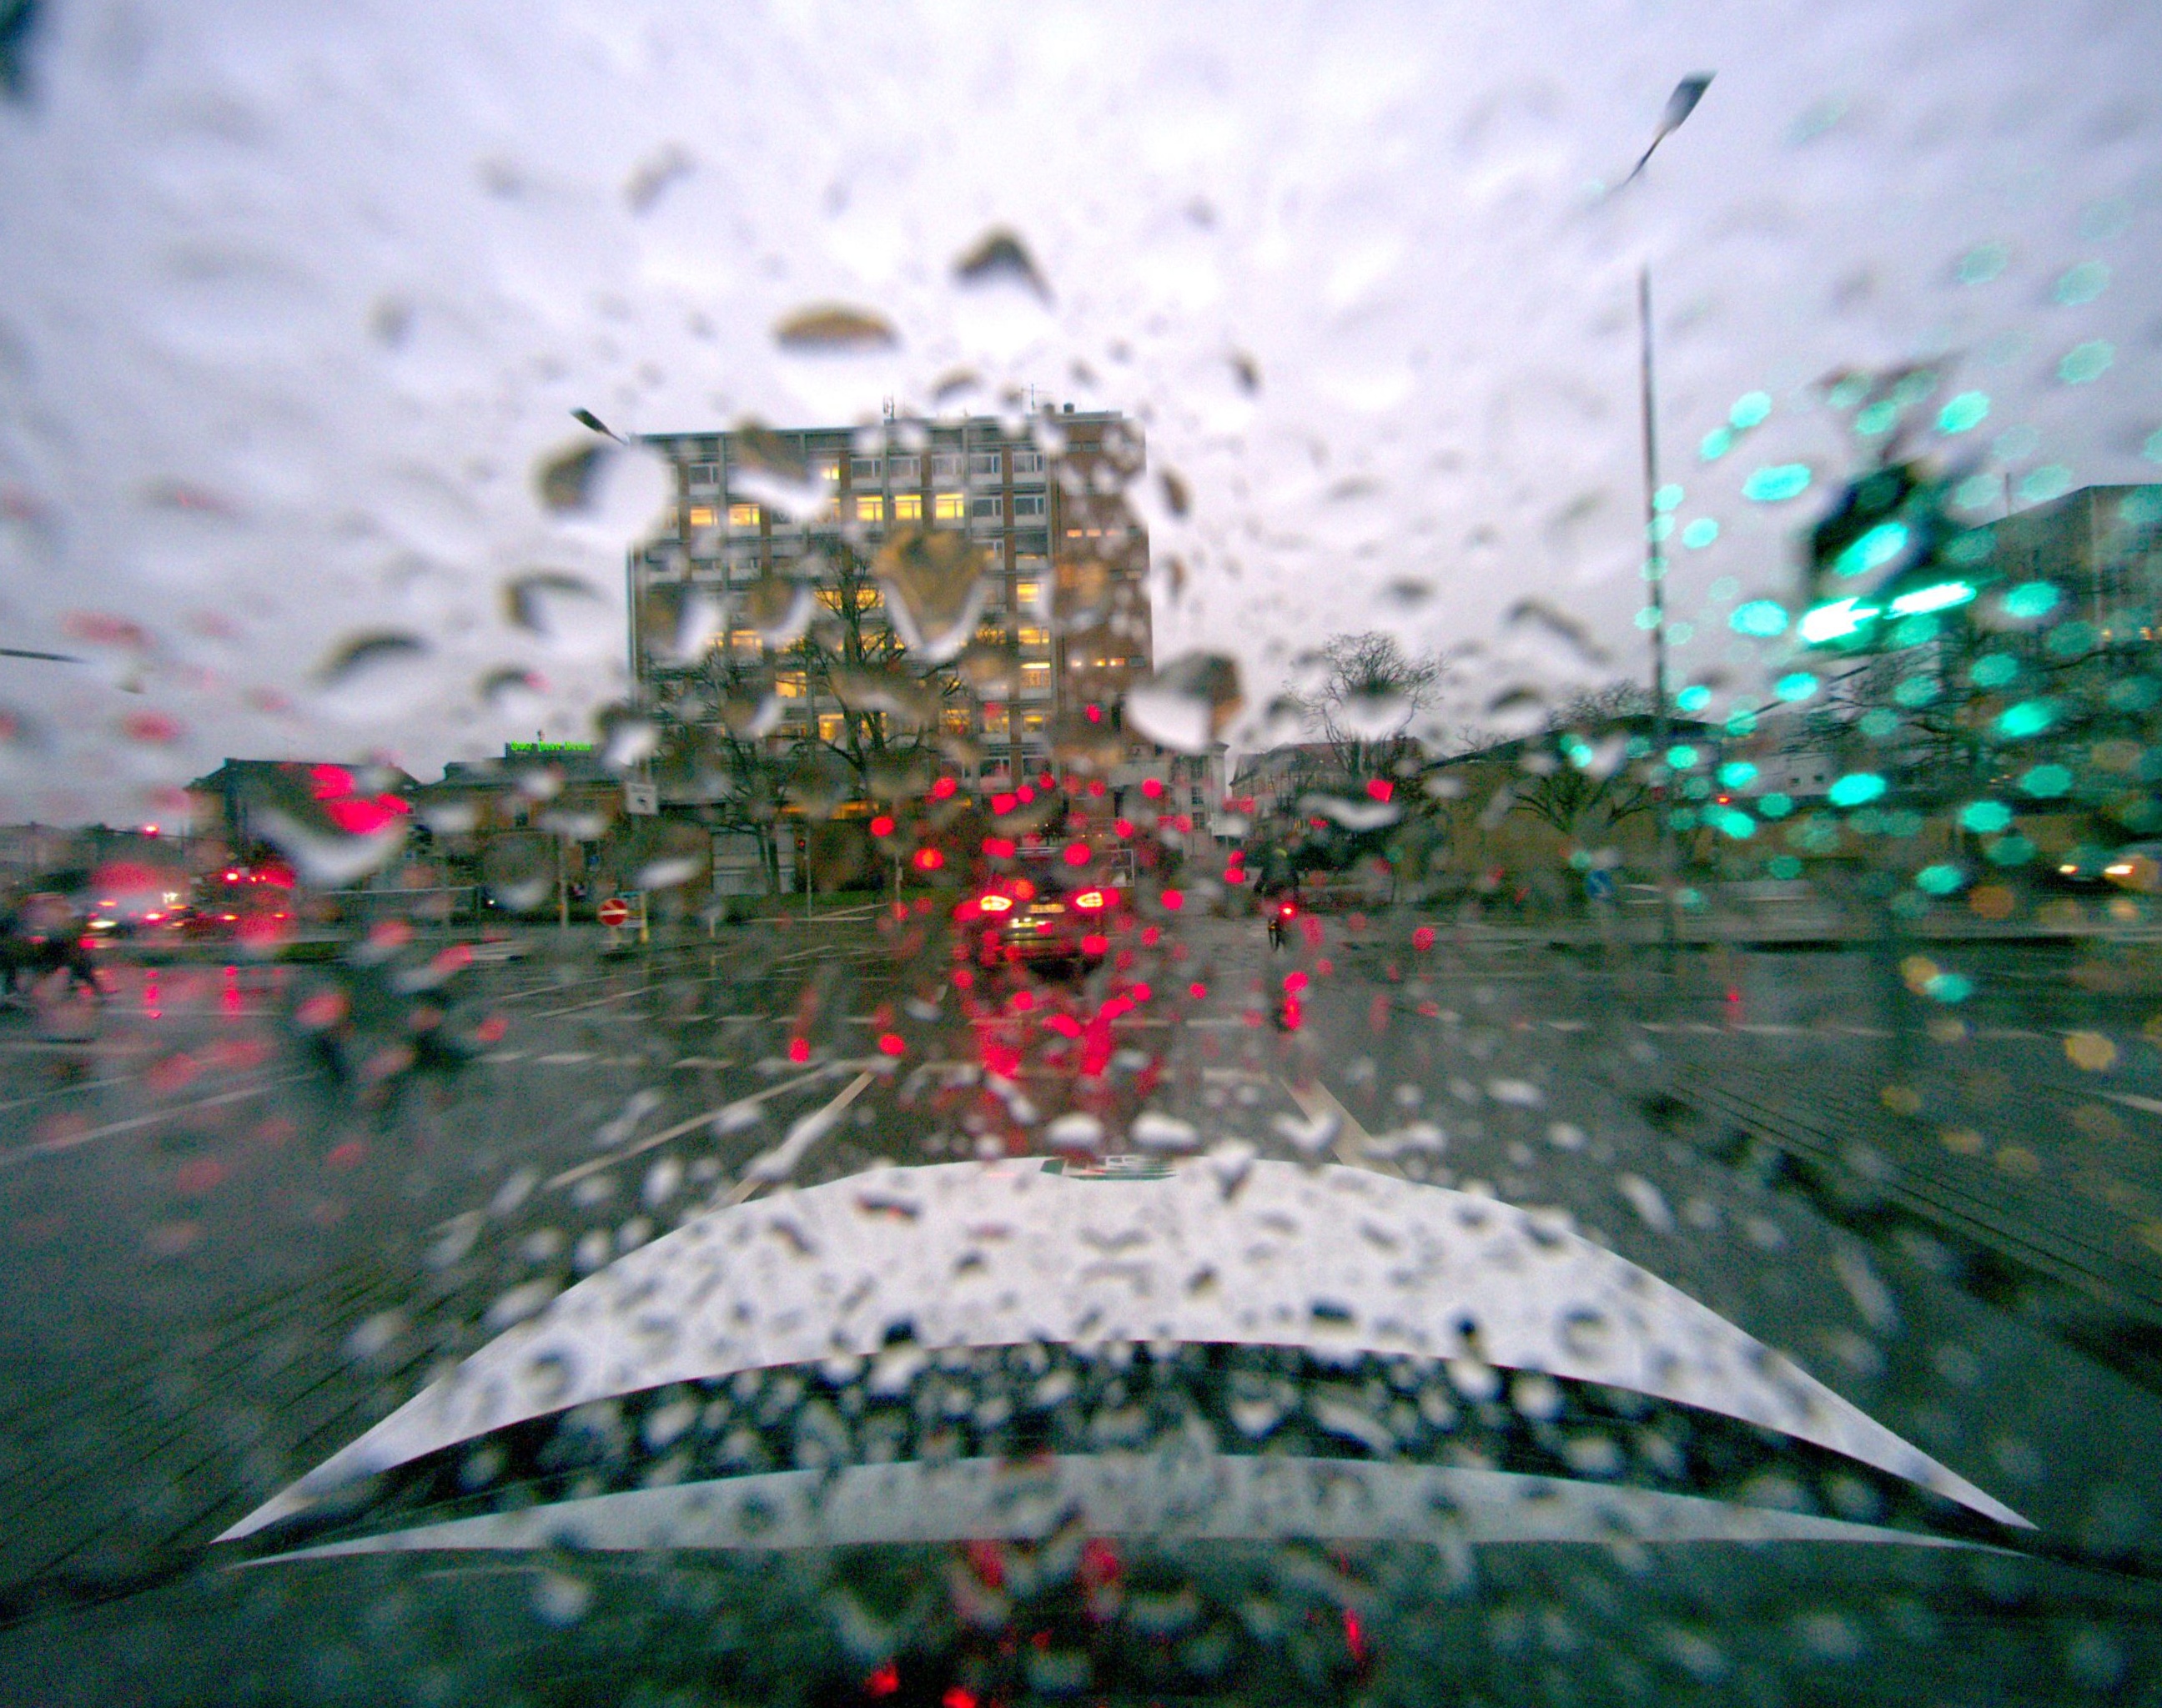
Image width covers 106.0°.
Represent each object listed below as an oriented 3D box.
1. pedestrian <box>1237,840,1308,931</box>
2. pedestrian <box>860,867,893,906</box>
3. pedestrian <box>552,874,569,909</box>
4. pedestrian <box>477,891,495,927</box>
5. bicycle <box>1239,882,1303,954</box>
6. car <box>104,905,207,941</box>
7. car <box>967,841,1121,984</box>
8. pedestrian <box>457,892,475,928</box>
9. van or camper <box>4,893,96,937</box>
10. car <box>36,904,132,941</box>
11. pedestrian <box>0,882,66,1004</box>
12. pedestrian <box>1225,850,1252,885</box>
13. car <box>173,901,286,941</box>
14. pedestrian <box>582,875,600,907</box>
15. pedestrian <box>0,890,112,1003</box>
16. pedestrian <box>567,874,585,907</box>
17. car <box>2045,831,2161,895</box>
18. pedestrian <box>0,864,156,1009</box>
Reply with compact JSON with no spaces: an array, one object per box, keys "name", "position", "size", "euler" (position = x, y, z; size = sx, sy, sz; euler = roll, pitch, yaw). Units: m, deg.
[{"name":"pedestrian","position":[2.960,0.474,12.658],"size":[0.871,1.316,0.849],"euler":[-3,0,2]},{"name":"pedestrian","position":[-9.291,1.456,37.046],"size":[1.057,1.687,0.814],"euler":[-3,1,22]},{"name":"pedestrian","position":[-27.262,1.946,42.640],"size":[0.588,1.781,0.760],"euler":[-4,0,-37]},{"name":"pedestrian","position":[-33.838,3.125,46.344],"size":[0.813,2.013,0.752],"euler":[0,0,-37]},{"name":"bicycle","position":[2.988,0.979,12.989],"size":[0.559,0.947,2.096],"euler":[-3,0,2]},{"name":"car","position":[-39.294,2.922,34.565],"size":[4.070,1.404,1.673],"euler":[-3,-3,23]},{"name":"car","position":[-0.768,0.789,12.782],"size":[1.778,1.800,4.407],"euler":[-1,-1,-11]},{"name":"pedestrian","position":[-34.548,3.155,45.771],"size":[0.813,1.930,0.752],"euler":[0,0,-37]},{"name":"van or camper","position":[-53.101,3.126,41.930],"size":[4.923,2.109,2.222],"euler":[-3,-2,30]},{"name":"car","position":[-45.785,3.139,37.397],"size":[4.484,1.601,1.801],"euler":[-3,-3,26]},{"name":"pedestrian","position":[-17.397,1.401,12.998],"size":[1.067,1.858,1.032],"euler":[0,0,-10]},{"name":"pedestrian","position":[7.757,0.645,40.213],"size":[0.931,1.687,0.903],"euler":[-2,2,-35]},{"name":"car","position":[-33.302,2.595,31.871],"size":[3.825,1.482,1.715],"euler":[-2,-3,22]},{"name":"pedestrian","position":[-26.218,1.965,43.571],"size":[0.724,1.687,0.751],"euler":[-2,0,-37]},{"name":"pedestrian","position":[-18.253,1.594,14.292],"size":[1.227,1.858,1.034],"euler":[0,0,-2]},{"name":"pedestrian","position":[-26.625,1.929,42.943],"size":[0.673,1.687,0.605],"euler":[-4,2,-37]},{"name":"car","position":[28.388,0.172,21.086],"size":[4.434,1.486,1.777],"euler":[-3,0,5]},{"name":"pedestrian","position":[-15.252,1.197,12.398],"size":[1.024,2.049,1.221],"euler":[0,0,18]}]
